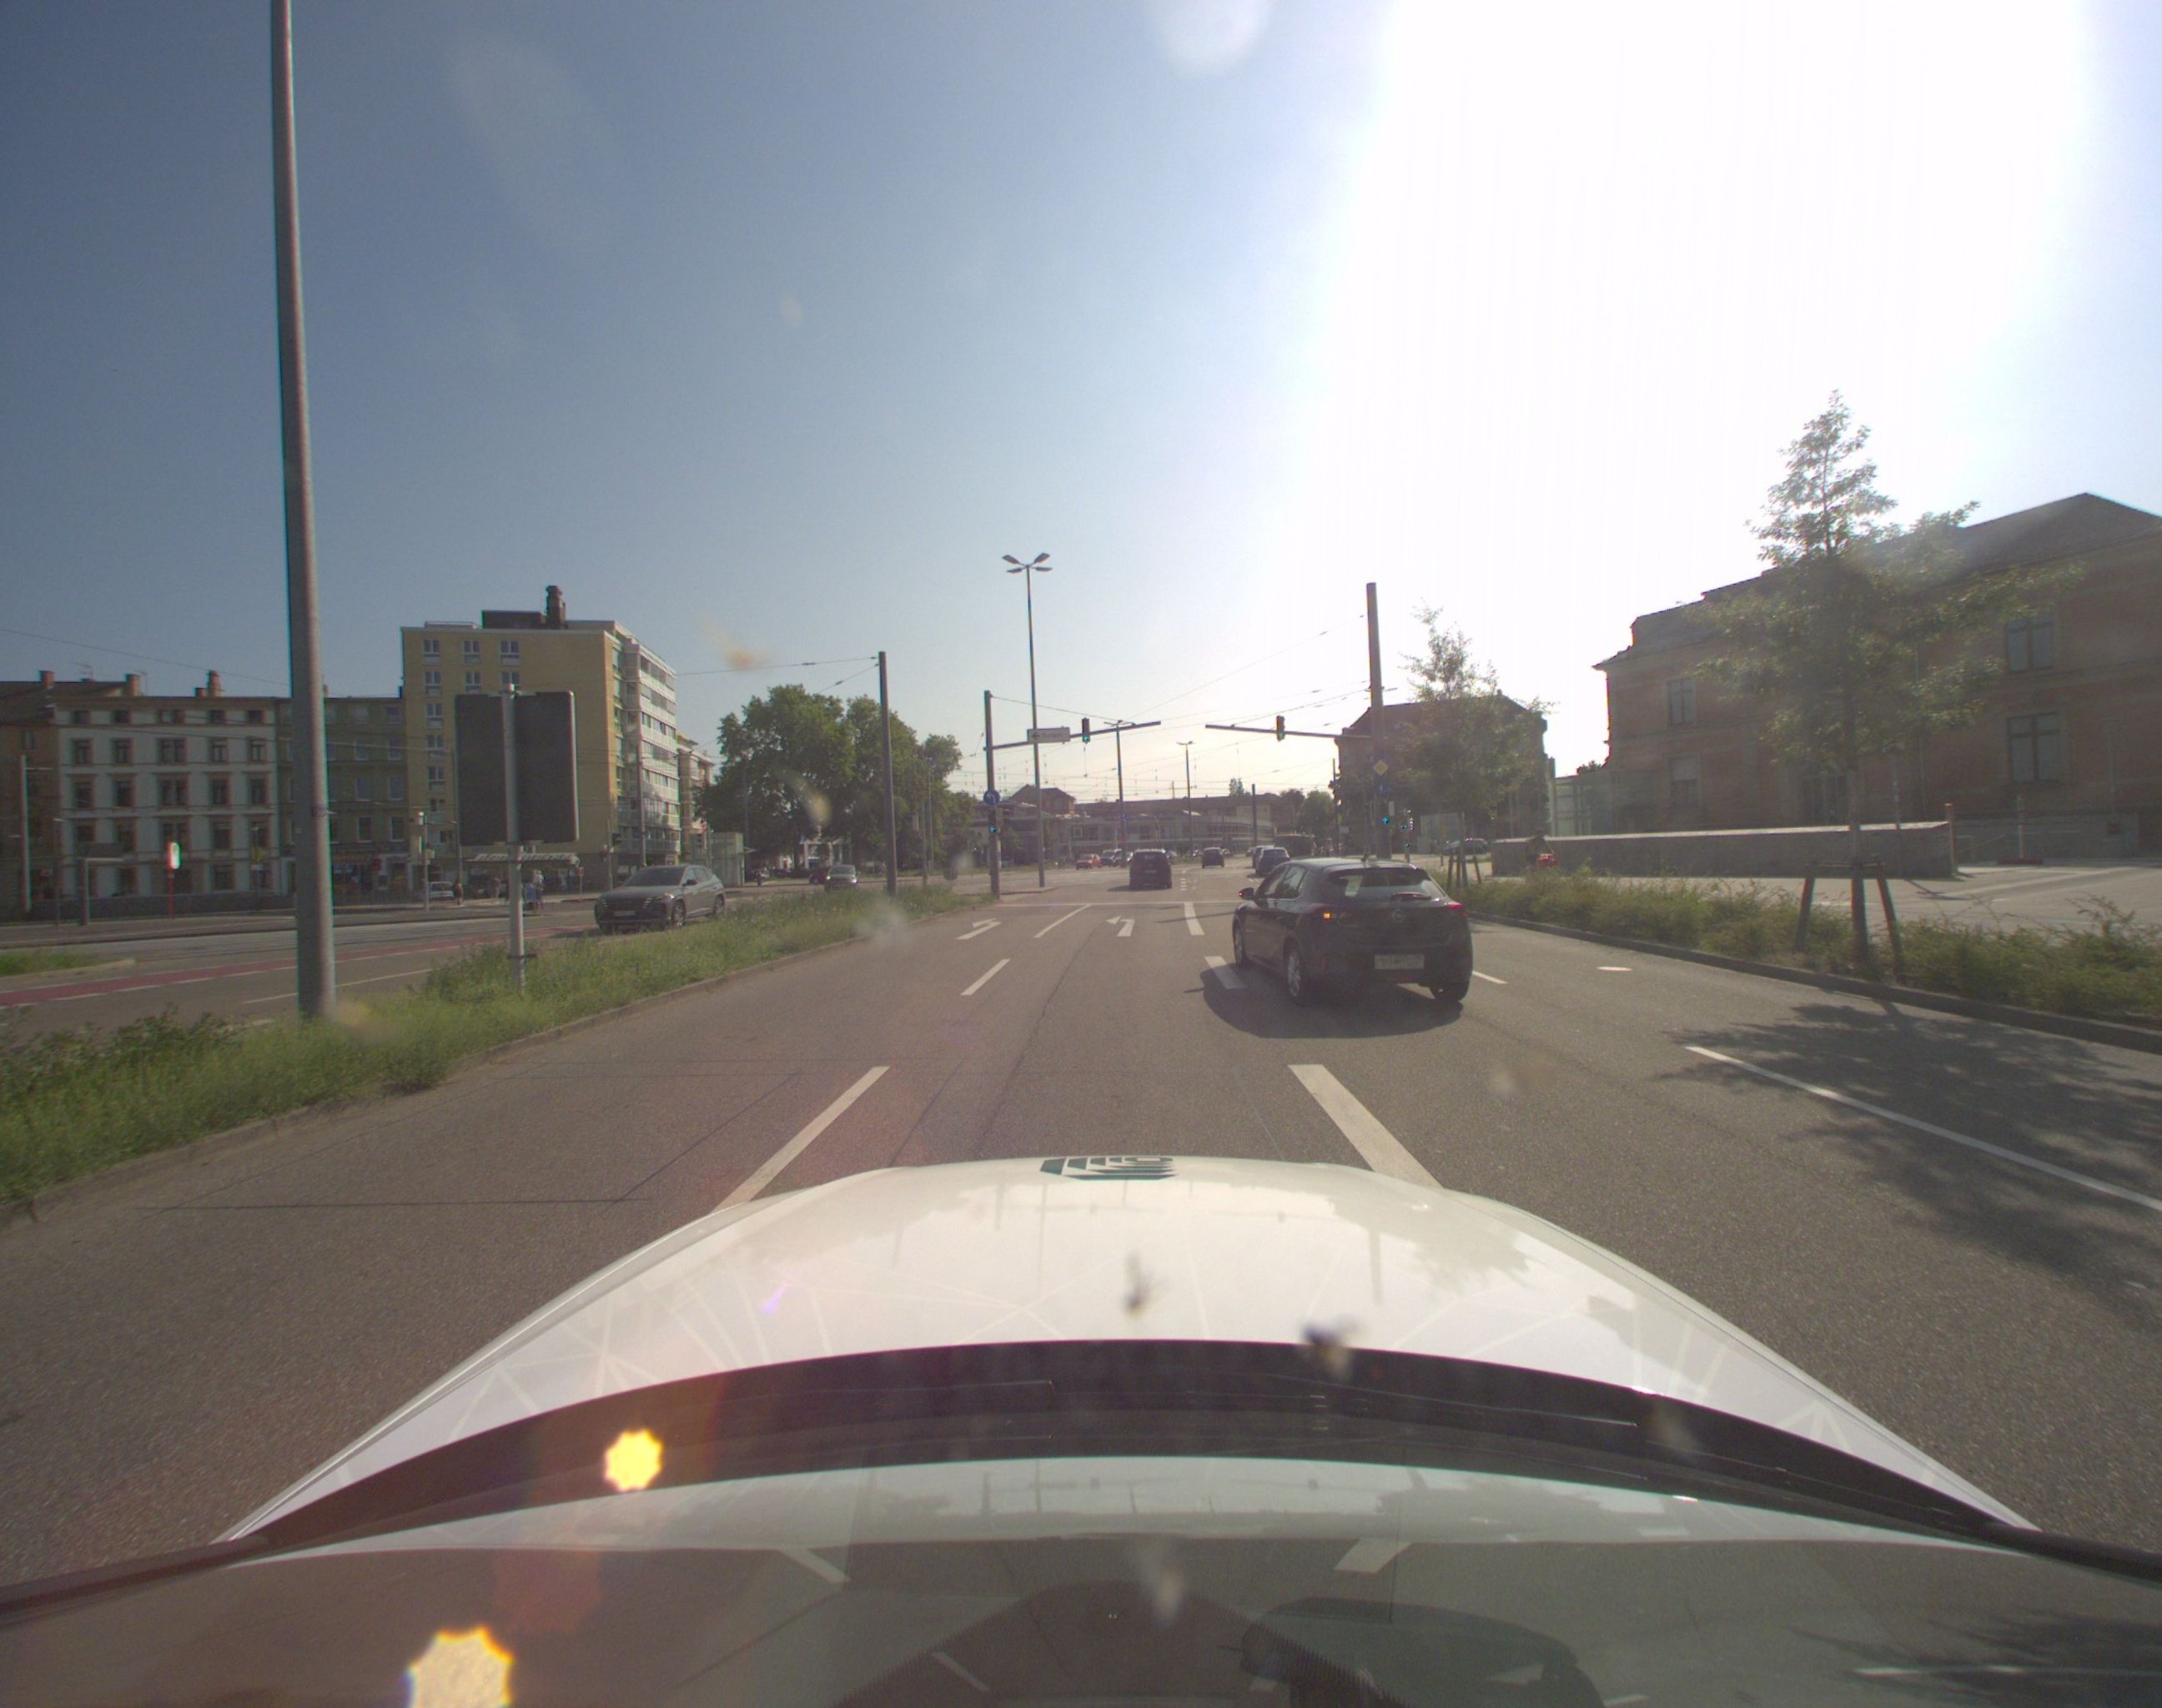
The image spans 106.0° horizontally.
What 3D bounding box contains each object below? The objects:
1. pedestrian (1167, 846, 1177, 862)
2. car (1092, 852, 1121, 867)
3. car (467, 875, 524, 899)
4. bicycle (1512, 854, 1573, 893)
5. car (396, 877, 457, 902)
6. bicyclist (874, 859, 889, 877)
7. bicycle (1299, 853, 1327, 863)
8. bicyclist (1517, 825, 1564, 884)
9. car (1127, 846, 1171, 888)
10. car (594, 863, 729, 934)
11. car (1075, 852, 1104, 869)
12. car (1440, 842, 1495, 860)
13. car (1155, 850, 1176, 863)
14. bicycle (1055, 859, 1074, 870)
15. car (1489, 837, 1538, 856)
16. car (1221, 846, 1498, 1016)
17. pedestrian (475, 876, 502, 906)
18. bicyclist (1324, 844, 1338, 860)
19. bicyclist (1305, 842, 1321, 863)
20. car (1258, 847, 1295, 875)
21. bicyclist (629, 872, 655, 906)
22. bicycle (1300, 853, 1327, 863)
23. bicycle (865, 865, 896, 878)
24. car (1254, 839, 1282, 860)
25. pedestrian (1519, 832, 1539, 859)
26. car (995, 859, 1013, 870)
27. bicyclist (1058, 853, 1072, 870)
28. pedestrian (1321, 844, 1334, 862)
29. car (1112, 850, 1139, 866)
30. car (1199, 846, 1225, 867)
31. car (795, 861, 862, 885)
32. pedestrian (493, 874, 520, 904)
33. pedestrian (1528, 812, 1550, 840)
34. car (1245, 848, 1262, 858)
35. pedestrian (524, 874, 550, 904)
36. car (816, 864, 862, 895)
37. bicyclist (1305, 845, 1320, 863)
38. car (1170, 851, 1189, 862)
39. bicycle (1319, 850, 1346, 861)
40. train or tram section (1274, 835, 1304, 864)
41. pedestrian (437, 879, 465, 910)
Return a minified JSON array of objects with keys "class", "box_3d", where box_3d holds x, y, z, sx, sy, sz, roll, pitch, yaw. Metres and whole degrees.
[{"class":"pedestrian","box_3d":[9.155,0.011,81.836,0.772,1.503,0.713,-2,0,15]},{"class":"car","box_3d":[2.878,0.616,89.931,1.944,1.475,4.020,-4,-1,20]},{"class":"car","box_3d":[-44.241,2.495,61.542,4.491,1.678,2.013,-2,0,34]},{"class":"bicycle","box_3d":[12.213,0.507,21.627,0.715,0.959,1.925,-2,0,7]},{"class":"car","box_3d":[-49.087,2.670,61.099,4.492,1.678,2.012,-2,0,30]},{"class":"bicyclist","box_3d":[-18.016,1.295,73.409,1.162,1.527,0.957,-3,0,-10]},{"class":"bicycle","box_3d":[23.972,0.392,84.141,2.626,0.964,1.086,-2,0,-19]},{"class":"bicyclist","box_3d":[12.190,0.016,21.618,0.715,1.513,1.007,-2,0,8]},{"class":"car","box_3d":[3.031,0.552,36.776,1.818,1.714,4.416,-2,0,3]},{"class":"car","box_3d":[-11.068,1.081,21.853,1.692,1.617,4.451,-2,0,-7]},{"class":"car","box_3d":[0.927,0.643,82.817,1.600,1.475,4.020,-4,-1,20]},{"class":"car","box_3d":[34.485,-0.266,72.622,4.392,1.397,2.008,-2,0,-23]},{"class":"car","box_3d":[11.091,0.340,107.026,1.600,1.475,4.021,-4,-1,21]},{"class":"bicycle","box_3d":[-1.677,1.104,83.519,0.949,1.057,2.622,-2,0,21]},{"class":"car","box_3d":[45.587,-0.750,85.808,4.263,1.859,1.923,-2,0,-12]},{"class":"car","box_3d":[2.899,0.696,9.553,1.677,1.492,4.370,-2,0,-1]},{"class":"pedestrian","box_3d":[-34.678,2.172,47.656,0.923,1.690,0.919,-2,0,-12]},{"class":"bicyclist","box_3d":[26.210,-0.213,85.447,0.937,1.680,1.086,-2,0,-19]},{"class":"bicyclist","box_3d":[23.308,-0.132,81.887,0.940,2.024,1.082,-2,0,-32]},{"class":"car","box_3d":[10.889,0.344,45.518,1.813,1.428,4.428,-3,0,13]},{"class":"bicyclist","box_3d":[-20.395,1.618,37.820,0.793,1.527,0.724,-2,0,-6]},{"class":"bicycle","box_3d":[23.369,0.411,81.905,2.636,0.964,1.082,-2,0,-32]},{"class":"bicycle","box_3d":[-18.068,1.545,73.384,2.600,1.057,0.957,-2,0,-10]},{"class":"car","box_3d":[13.745,-0.357,60.069,1.814,1.428,4.426,-3,0,11]},{"class":"pedestrian","box_3d":[28.185,-0.526,51.239,0.911,1.690,0.843,-2,-1,42]},{"class":"car","box_3d":[-11.622,1.573,123.021,1.689,1.522,4.110,-2,0,9]},{"class":"bicyclist","box_3d":[-1.657,0.755,83.599,0.949,1.748,1.172,-2,0,21]},{"class":"pedestrian","box_3d":[25.130,-0.112,82.988,0.932,1.797,0.850,-2,0,-36]},{"class":"car","box_3d":[4.616,0.424,84.755,1.600,1.475,4.020,-4,-1,20]},{"class":"car","box_3d":[10.548,0.162,65.365,1.813,1.535,4.427,-3,0,12]},{"class":"car","box_3d":[-18.914,1.389,61.066,4.388,1.535,1.829,-3,0,-3]},{"class":"pedestrian","box_3d":[-33.575,2.058,47.606,0.923,1.690,0.919,-2,0,-12]},{"class":"pedestrian","box_3d":[28.096,-1.712,49.966,0.911,1.690,0.930,-2,-1,45]},{"class":"car","box_3d":[27.373,-0.164,129.210,1.599,1.475,4.024,-5,-1,28]},{"class":"pedestrian","box_3d":[-31.953,2.065,47.833,0.923,1.690,0.919,-2,0,-12]},{"class":"car","box_3d":[-12.569,1.316,42.518,1.889,1.452,3.661,-2,0,-11]},{"class":"bicyclist","box_3d":[23.941,-0.029,84.135,0.937,1.800,1.086,-2,0,-19]},{"class":"car","box_3d":[13.912,0.348,114.520,1.600,1.475,4.021,-4,-1,21]},{"class":"bicycle","box_3d":[26.406,0.147,85.516,2.626,0.964,1.086,-2,0,-19]},{"class":"train or tram section","box_3d":[28.546,-0.619,111.378,2.632,3.699,10.644,-3,0,20]},{"class":"pedestrian","box_3d":[-35.931,2.278,46.440,0.923,1.690,0.919,-2,0,-12]}]
